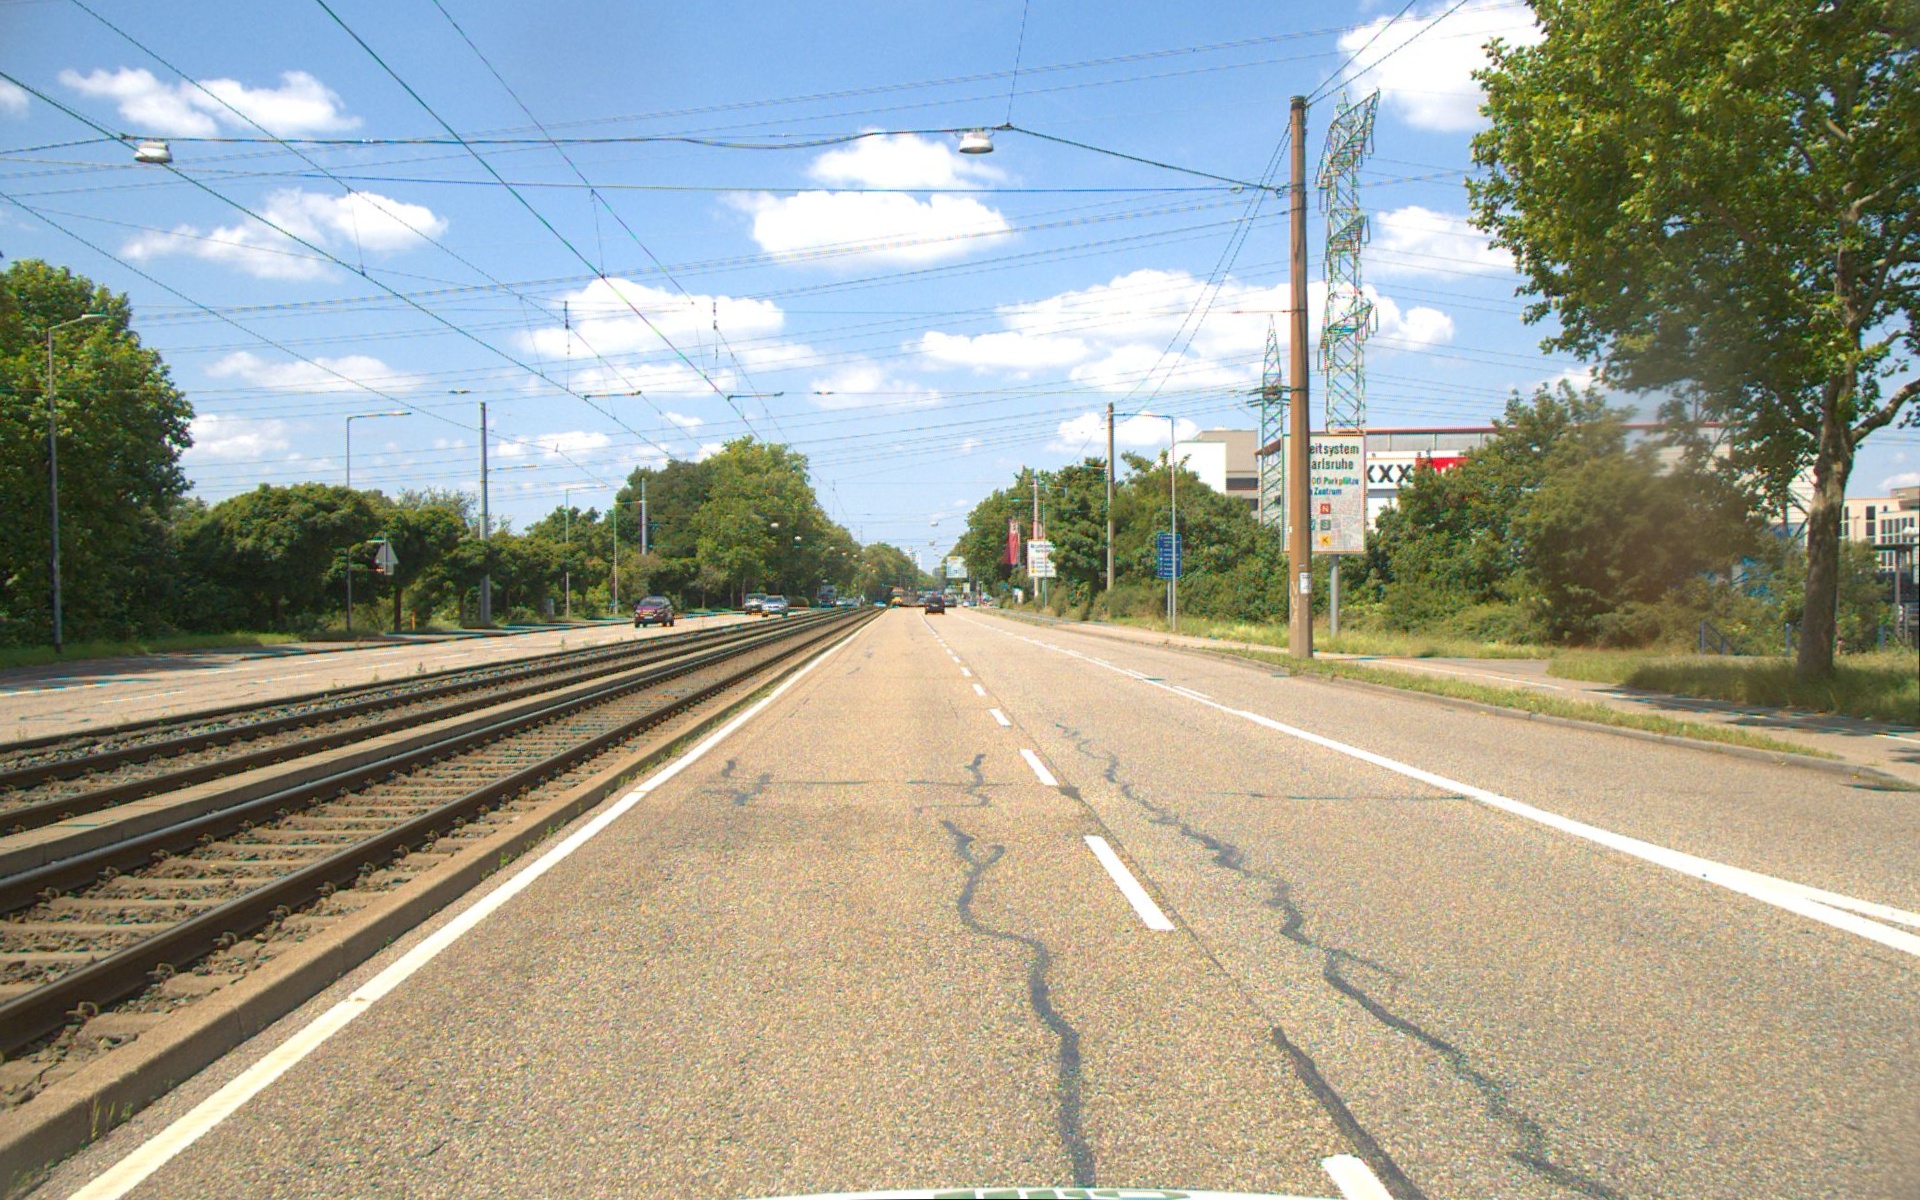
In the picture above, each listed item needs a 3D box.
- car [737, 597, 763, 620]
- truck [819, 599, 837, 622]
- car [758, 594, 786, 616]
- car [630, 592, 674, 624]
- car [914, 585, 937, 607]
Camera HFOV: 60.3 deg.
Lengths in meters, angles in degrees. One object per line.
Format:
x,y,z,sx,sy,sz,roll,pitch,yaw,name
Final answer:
-19.346,0.752,152.677,1.820,1.961,5.006,-2,0,-2,car
-19.463,1.493,243.714,2.204,3.293,6.041,-1,0,0,truck
-14.659,0.378,129.040,1.765,1.653,4.492,-2,0,-2,car
-17.007,0.437,91.505,1.765,1.653,4.209,-2,0,-2,car
-3.035,-0.372,144.016,1.861,1.837,3.974,1,0,-2,car
